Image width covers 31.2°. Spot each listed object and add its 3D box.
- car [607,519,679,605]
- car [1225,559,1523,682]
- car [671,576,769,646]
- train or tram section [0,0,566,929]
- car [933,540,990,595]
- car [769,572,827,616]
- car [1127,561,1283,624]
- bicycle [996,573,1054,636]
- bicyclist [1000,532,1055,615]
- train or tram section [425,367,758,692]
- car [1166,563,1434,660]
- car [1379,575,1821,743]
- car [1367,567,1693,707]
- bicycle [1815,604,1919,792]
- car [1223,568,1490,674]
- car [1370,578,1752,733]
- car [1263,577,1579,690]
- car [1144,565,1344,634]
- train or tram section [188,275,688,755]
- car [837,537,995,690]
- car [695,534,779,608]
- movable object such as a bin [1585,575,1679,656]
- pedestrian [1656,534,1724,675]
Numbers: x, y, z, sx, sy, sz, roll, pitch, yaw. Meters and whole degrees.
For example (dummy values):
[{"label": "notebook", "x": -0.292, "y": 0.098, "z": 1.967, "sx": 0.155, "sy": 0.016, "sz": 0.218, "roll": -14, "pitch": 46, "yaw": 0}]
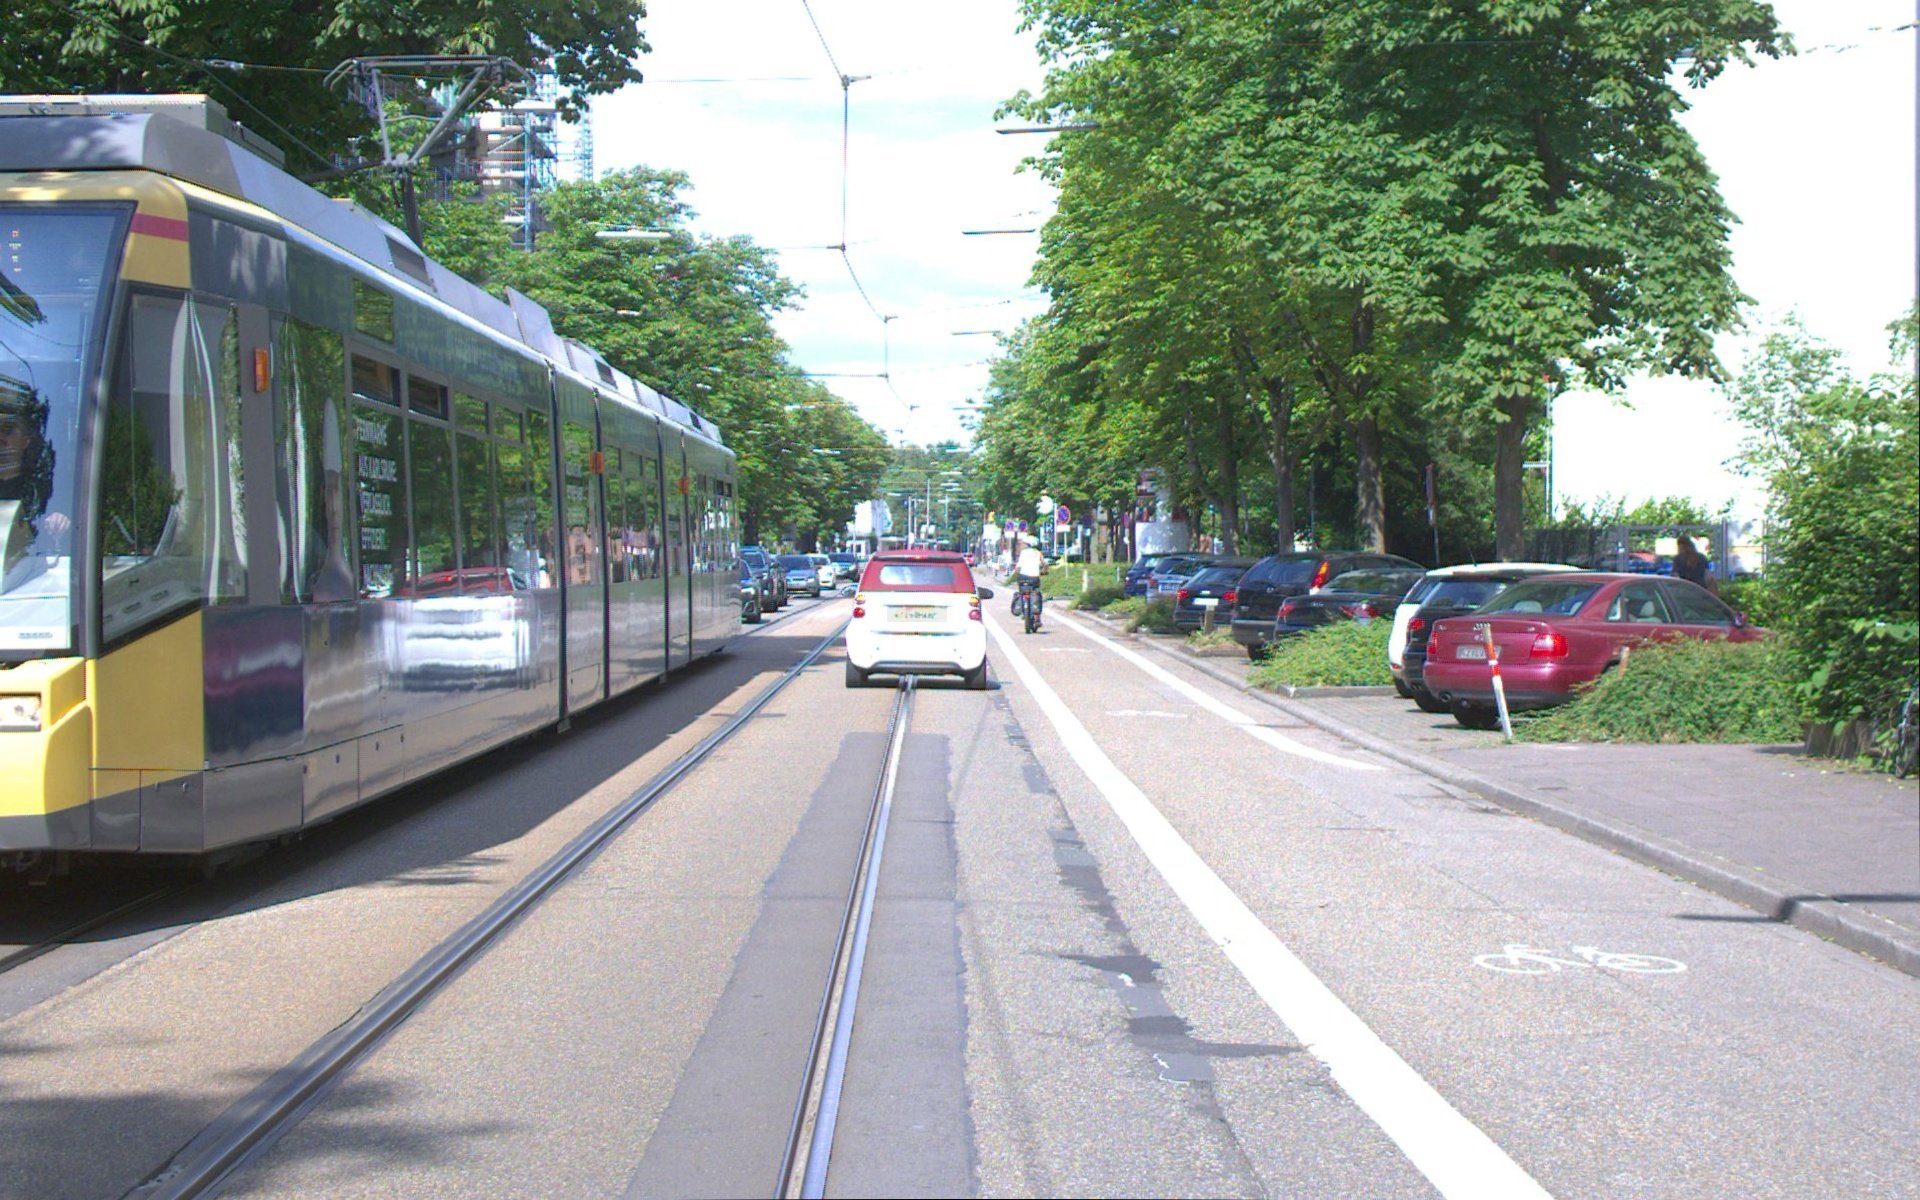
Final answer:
[{"label": "car", "x": -10.220, "y": -1.219, "z": 111.099, "sx": 1.769, "sy": 2.630, "sz": 5.322, "roll": 2, "pitch": 0, "yaw": -1}, {"label": "car", "x": 5.763, "y": 0.297, "z": 47.651, "sx": 3.988, "sy": 1.569, "sz": 1.904, "roll": 1, "pitch": 1, "yaw": -42}, {"label": "car", "x": -5.008, "y": 0.214, "z": 72.101, "sx": 1.799, "sy": 1.383, "sz": 4.426, "roll": 0, "pitch": 1, "yaw": -1}, {"label": "train or tram section", "x": -4.175, "y": -0.540, "z": 18.571, "sx": 2.652, "sy": 3.425, "sz": 12.315, "roll": -1, "pitch": 0, "yaw": 0}, {"label": "car", "x": 0.028, "y": -0.996, "z": 103.718, "sx": 1.665, "sy": 1.619, "sz": 3.621, "roll": 1, "pitch": 1, "yaw": -1}, {"label": "car", "x": -5.449, "y": -0.209, "z": 115.851, "sx": 1.773, "sy": 1.411, "sz": 3.852, "roll": -2, "pitch": 0, "yaw": -1}, {"label": "car", "x": 6.000, "y": -0.198, "z": 83.976, "sx": 1.615, "sy": 1.481, "sz": 3.990, "roll": 0, "pitch": 1, "yaw": 44}, {"label": "bicycle", "x": 1.223, "y": 0.075, "z": 64.282, "sx": 0.875, "sy": 1.122, "sz": 2.135, "roll": 2, "pitch": 0, "yaw": 6}, {"label": "bicyclist", "x": 1.271, "y": -0.491, "z": 64.523, "sx": 0.890, "sy": 1.523, "sz": 1.085, "roll": 2, "pitch": 0, "yaw": 6}, {"label": "train or tram section", "x": -4.278, "y": -0.783, "z": 43.143, "sx": 2.652, "sy": 3.344, "sz": 14.109, "roll": -1, "pitch": 0, "yaw": 0}, {"label": "car", "x": 5.735, "y": 0.204, "z": 57.596, "sx": 2.030, "sy": 1.437, "sz": 4.524, "roll": 2, "pitch": 0, "yaw": 44}, {"label": "car", "x": 5.895, "y": 0.487, "z": 31.435, "sx": 4.148, "sy": 1.418, "sz": 1.866, "roll": -1, "pitch": 1, "yaw": -43}, {"label": "car", "x": 6.340, "y": 0.391, "z": 37.999, "sx": 1.535, "sy": 1.456, "sz": 3.989, "roll": 2, "pitch": 1, "yaw": 44}, {"label": "bicycle", "x": 5.817, "y": 0.588, "z": 21.677, "sx": 0.279, "sy": 1.105, "sz": 2.011, "roll": -3, "pitch": 0, "yaw": 0}, {"label": "car", "x": 5.921, "y": 0.280, "z": 51.025, "sx": 4.065, "sy": 1.438, "sz": 1.725, "roll": -1, "pitch": 3, "yaw": -44}, {"label": "car", "x": 6.091, "y": 0.531, "z": 34.610, "sx": 3.989, "sy": 1.443, "sz": 1.698, "roll": 0, "pitch": 1, "yaw": -43}, {"label": "car", "x": 6.033, "y": 0.446, "z": 44.716, "sx": 1.904, "sy": 1.344, "sz": 4.164, "roll": 2, "pitch": 1, "yaw": 45}, {"label": "car", "x": 6.144, "y": -0.009, "z": 74.152, "sx": 4.230, "sy": 1.415, "sz": 1.723, "roll": 0, "pitch": 2, "yaw": -38}, {"label": "train or tram section", "x": -4.206, "y": -0.641, "z": 30.426, "sx": 2.652, "sy": 3.377, "sz": 11.473, "roll": -1, "pitch": 0, "yaw": 0}, {"label": "car", "x": -0.486, "y": 0.123, "z": 39.423, "sx": 1.665, "sy": 1.619, "sz": 3.621, "roll": 2, "pitch": 1, "yaw": 0}, {"label": "car", "x": -5.502, "y": -0.721, "z": 85.184, "sx": 1.825, "sy": 1.721, "sz": 4.391, "roll": 2, "pitch": 0, "yaw": -1}, {"label": "movable object such as a bin", "x": 11.224, "y": 0.251, "z": 57.459, "sx": 1.275, "sy": 1.314, "sz": 1.326, "roll": 1, "pitch": 0, "yaw": 0}, {"label": "pedestrian", "x": 9.798, "y": 0.053, "z": 46.157, "sx": 0.761, "sy": 1.867, "sz": 1.002, "roll": 1, "pitch": 0, "yaw": 5}]
